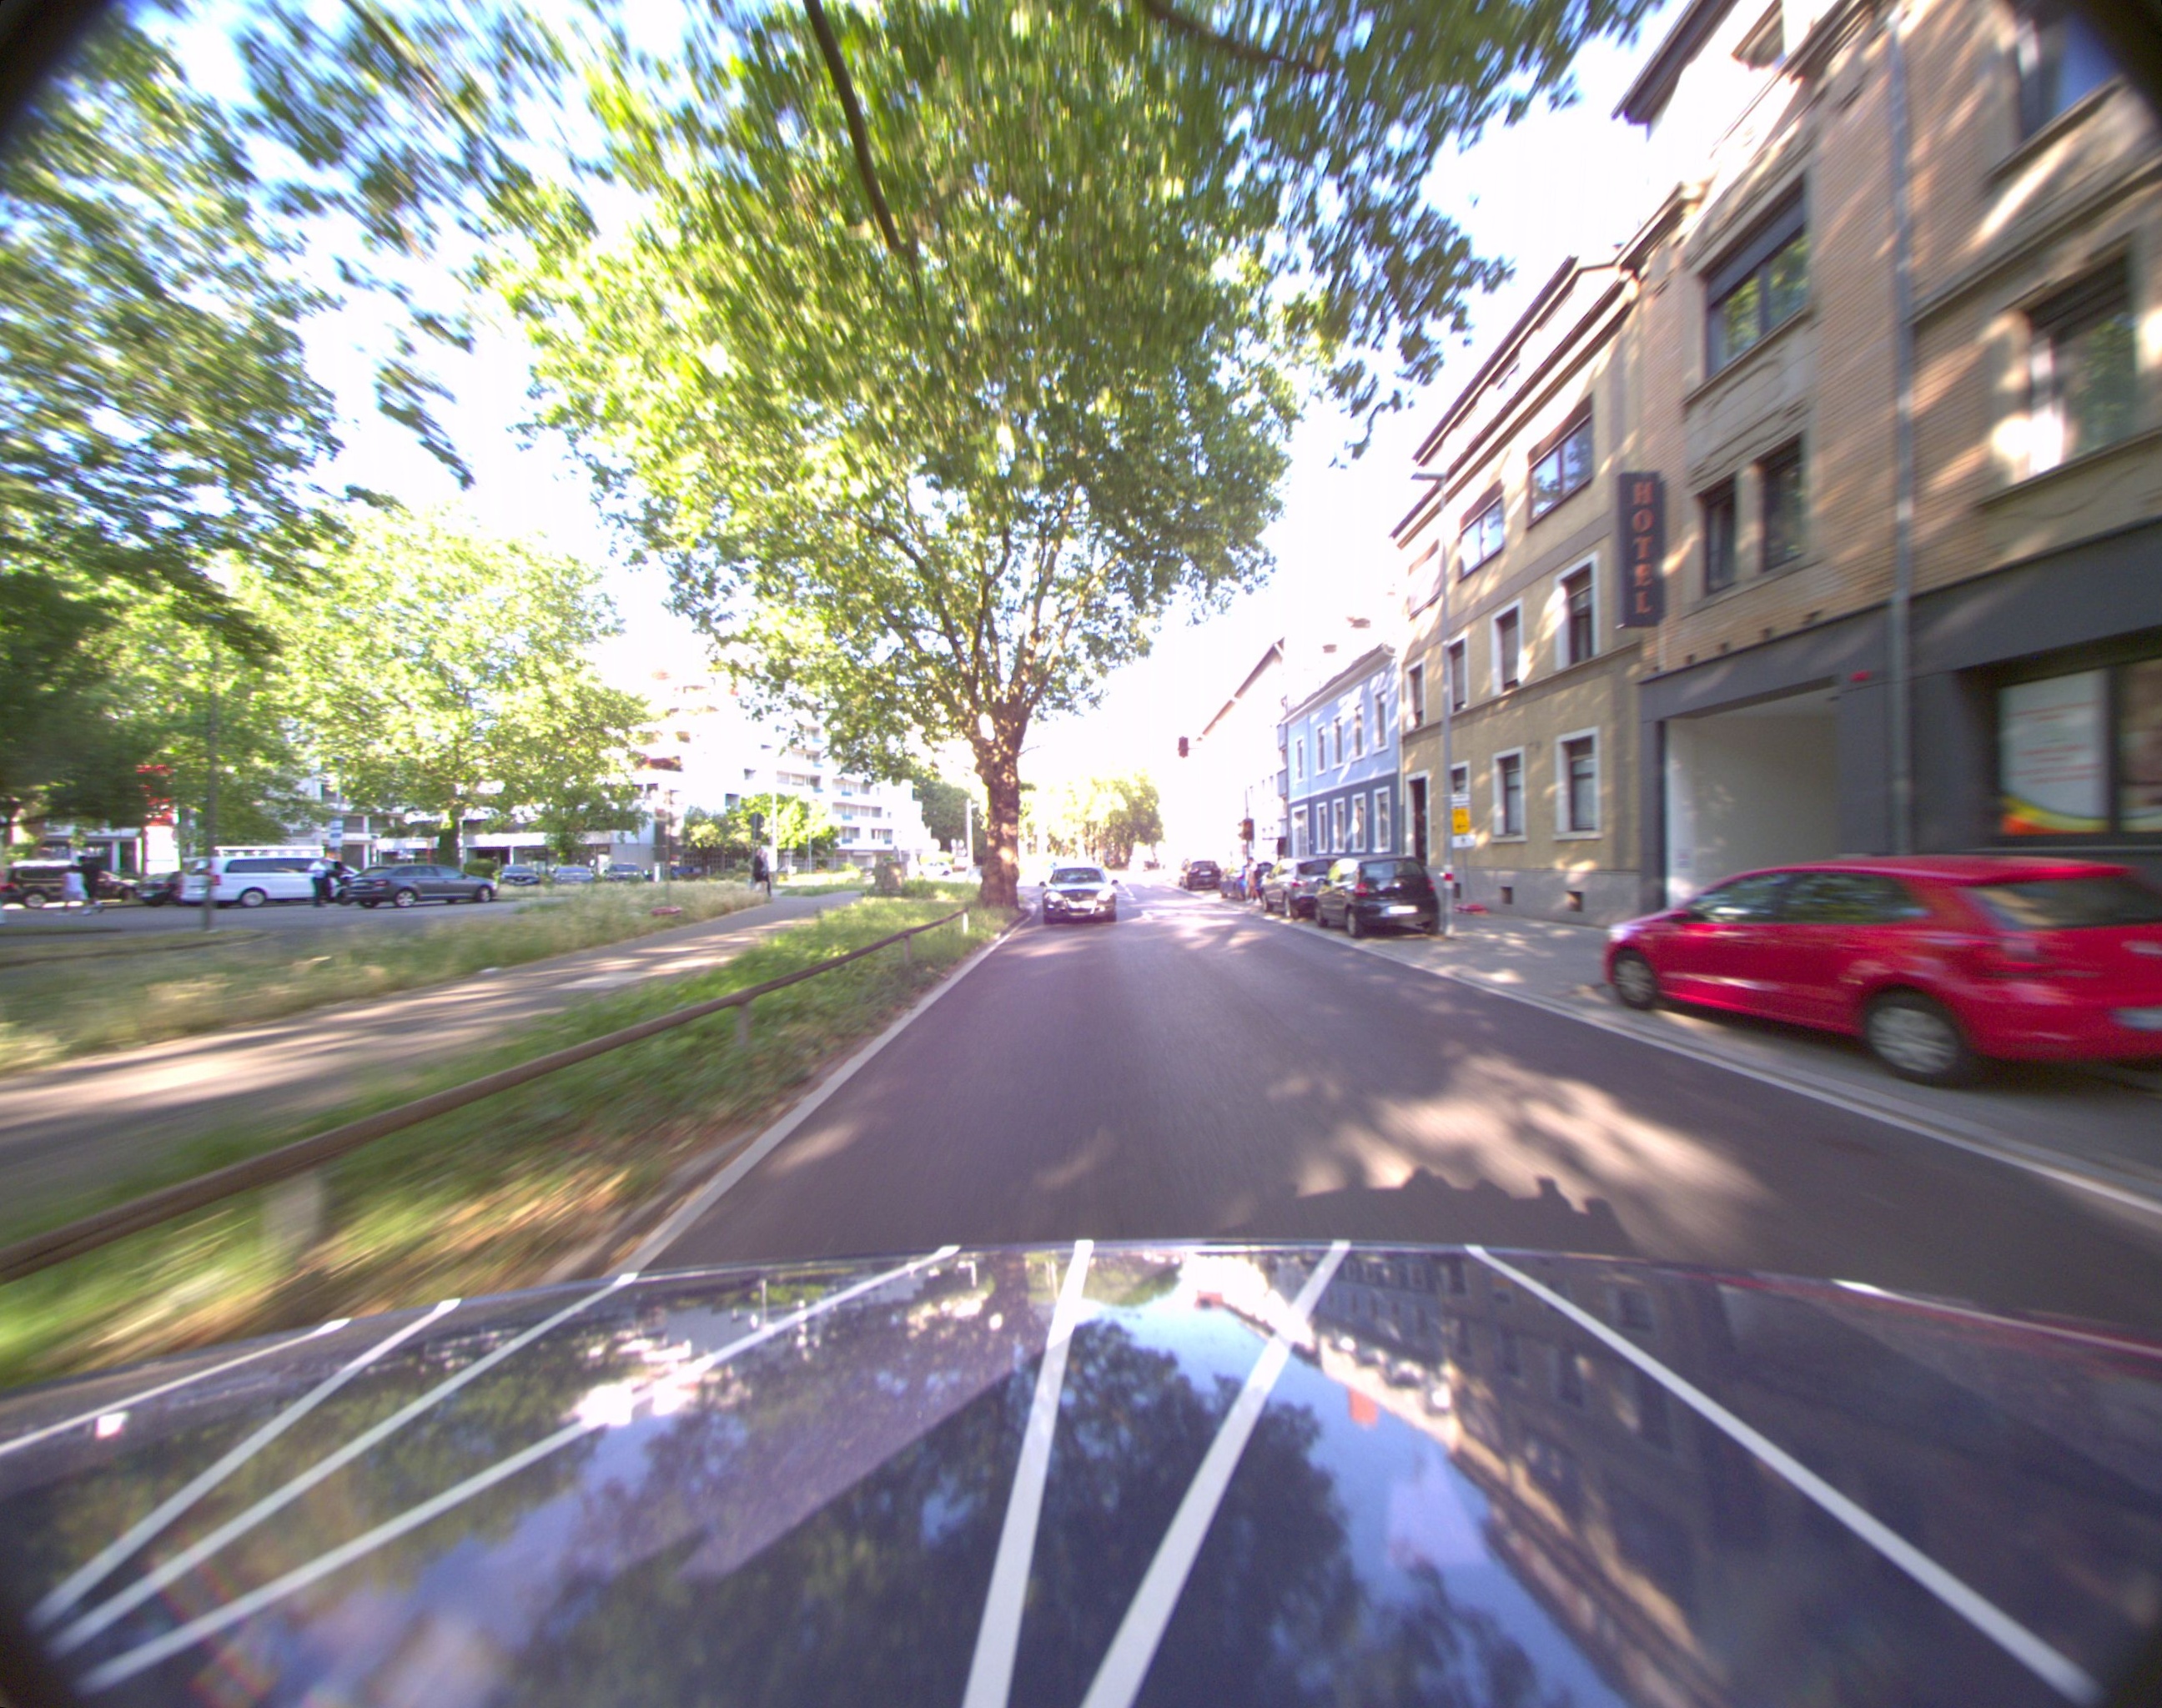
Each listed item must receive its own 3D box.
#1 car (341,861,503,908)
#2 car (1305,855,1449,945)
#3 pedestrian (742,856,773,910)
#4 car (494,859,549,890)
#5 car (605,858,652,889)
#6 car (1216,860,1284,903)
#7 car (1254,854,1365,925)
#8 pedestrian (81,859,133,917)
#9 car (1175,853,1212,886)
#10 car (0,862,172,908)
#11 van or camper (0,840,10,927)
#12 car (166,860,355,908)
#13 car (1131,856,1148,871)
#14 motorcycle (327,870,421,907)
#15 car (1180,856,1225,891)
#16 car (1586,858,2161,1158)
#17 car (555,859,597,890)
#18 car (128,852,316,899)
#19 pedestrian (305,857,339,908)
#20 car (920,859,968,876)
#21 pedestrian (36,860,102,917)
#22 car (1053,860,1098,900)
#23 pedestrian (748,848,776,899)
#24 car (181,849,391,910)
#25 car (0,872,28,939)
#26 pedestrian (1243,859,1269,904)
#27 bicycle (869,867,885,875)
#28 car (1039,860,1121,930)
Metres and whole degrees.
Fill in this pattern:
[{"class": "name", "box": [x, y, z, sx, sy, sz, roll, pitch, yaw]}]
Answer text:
[{"class": "car", "box": [-22.620, 1.083, 26.291, 1.673, 1.513, 3.993, 0, -3, 12]}, {"class": "car", "box": [5.960, 0.845, 15.771, 1.681, 1.595, 3.706, -2, 0, 3]}, {"class": "pedestrian", "box": [-11.590, 1.021, 27.254, 0.839, 1.921, 0.781, 0, 0, -10]}, {"class": "car", "box": [-31.313, 1.180, 42.635, 1.876, 1.628, 3.993, 1, -3, -28]}, {"class": "car", "box": [-25.727, 1.154, 43.145, 1.942, 1.649, 4.468, 2, -4, -34]}, {"class": "car", "box": [6.531, 1.005, 29.793, 1.654, 1.478, 4.262, -2, 0, -1]}, {"class": "car", "box": [6.092, 0.880, 20.766, 1.786, 1.663, 4.156, -2, 0, 1]}, {"class": "pedestrian", "box": [-30.746, 1.063, 23.986, 0.962, 1.799, 0.687, 0, 0, 16]}, {"class": "car", "box": [6.698, 0.899, 45.581, 1.668, 1.808, 4.005, -2, 0, 2]}, {"class": "car", "box": [-41.681, 1.317, 31.720, 2.000, 1.764, 4.635, 0, -3, -3]}, {"class": "van or camper", "box": [-29.576, 0.754, 17.403, 2.260, 2.234, 5.378, 0, 0, 18]}, {"class": "car", "box": [-32.550, 1.252, 30.365, 1.997, 1.764, 4.642, -1, -3, 17]}, {"class": "car", "box": [7.309, 1.143, 95.304, 1.898, 1.782, 4.001, 0, 0, 2]}, {"class": "motorcycle", "box": [-25.376, 1.225, 27.334, 0.950, 1.241, 2.319, 0, 0, 13]}, {"class": "car", "box": [6.373, 0.968, 40.170, 1.910, 1.663, 4.494, -2, 0, 4]}, {"class": "car", "box": [6.108, 0.857, 6.052, 1.682, 1.583, 3.756, -2, 0, 1]}, {"class": "car", "box": [-28.463, 1.203, 42.775, 1.832, 1.577, 4.360, 2, -4, -34]}, {"class": "car", "box": [-35.029, 0.956, 31.197, 1.997, 1.764, 4.642, -1, -3, 17]}, {"class": "pedestrian", "box": [-26.386, 0.999, 26.419, 0.560, 1.741, 0.532, -1, 2, 11]}, {"class": "car", "box": [-13.159, 1.267, 72.936, 4.212, 1.502, 1.797, 0, 0, -29]}, {"class": "pedestrian", "box": [-30.711, 1.035, 23.070, 0.882, 1.688, 0.951, 0, 0, 17]}, {"class": "car", "box": [-0.179, 0.985, 29.671, 1.654, 1.445, 3.535, 0, 0, 0]}, {"class": "pedestrian", "box": [-11.829, 0.713, 28.205, 0.785, 1.869, 0.802, 0, 0, -11]}, {"class": "car", "box": [-29.761, 1.033, 28.743, 1.997, 2.083, 5.061, -1, -3, 17]}, {"class": "car", "box": [-24.640, 1.045, 15.324, 1.672, 1.445, 3.564, -1, -3, 17]}, {"class": "pedestrian", "box": [6.099, 0.958, 26.508, 0.864, 1.560, 0.706, 0, 0, 10]}, {"class": "bicycle", "box": [-20.826, 1.733, 77.521, 1.578, 0.780, 0.463, -1, 0, -22]}, {"class": "car", "box": [0.016, 0.967, 19.814, 1.844, 1.536, 4.524, -2, 0, 1]}]
